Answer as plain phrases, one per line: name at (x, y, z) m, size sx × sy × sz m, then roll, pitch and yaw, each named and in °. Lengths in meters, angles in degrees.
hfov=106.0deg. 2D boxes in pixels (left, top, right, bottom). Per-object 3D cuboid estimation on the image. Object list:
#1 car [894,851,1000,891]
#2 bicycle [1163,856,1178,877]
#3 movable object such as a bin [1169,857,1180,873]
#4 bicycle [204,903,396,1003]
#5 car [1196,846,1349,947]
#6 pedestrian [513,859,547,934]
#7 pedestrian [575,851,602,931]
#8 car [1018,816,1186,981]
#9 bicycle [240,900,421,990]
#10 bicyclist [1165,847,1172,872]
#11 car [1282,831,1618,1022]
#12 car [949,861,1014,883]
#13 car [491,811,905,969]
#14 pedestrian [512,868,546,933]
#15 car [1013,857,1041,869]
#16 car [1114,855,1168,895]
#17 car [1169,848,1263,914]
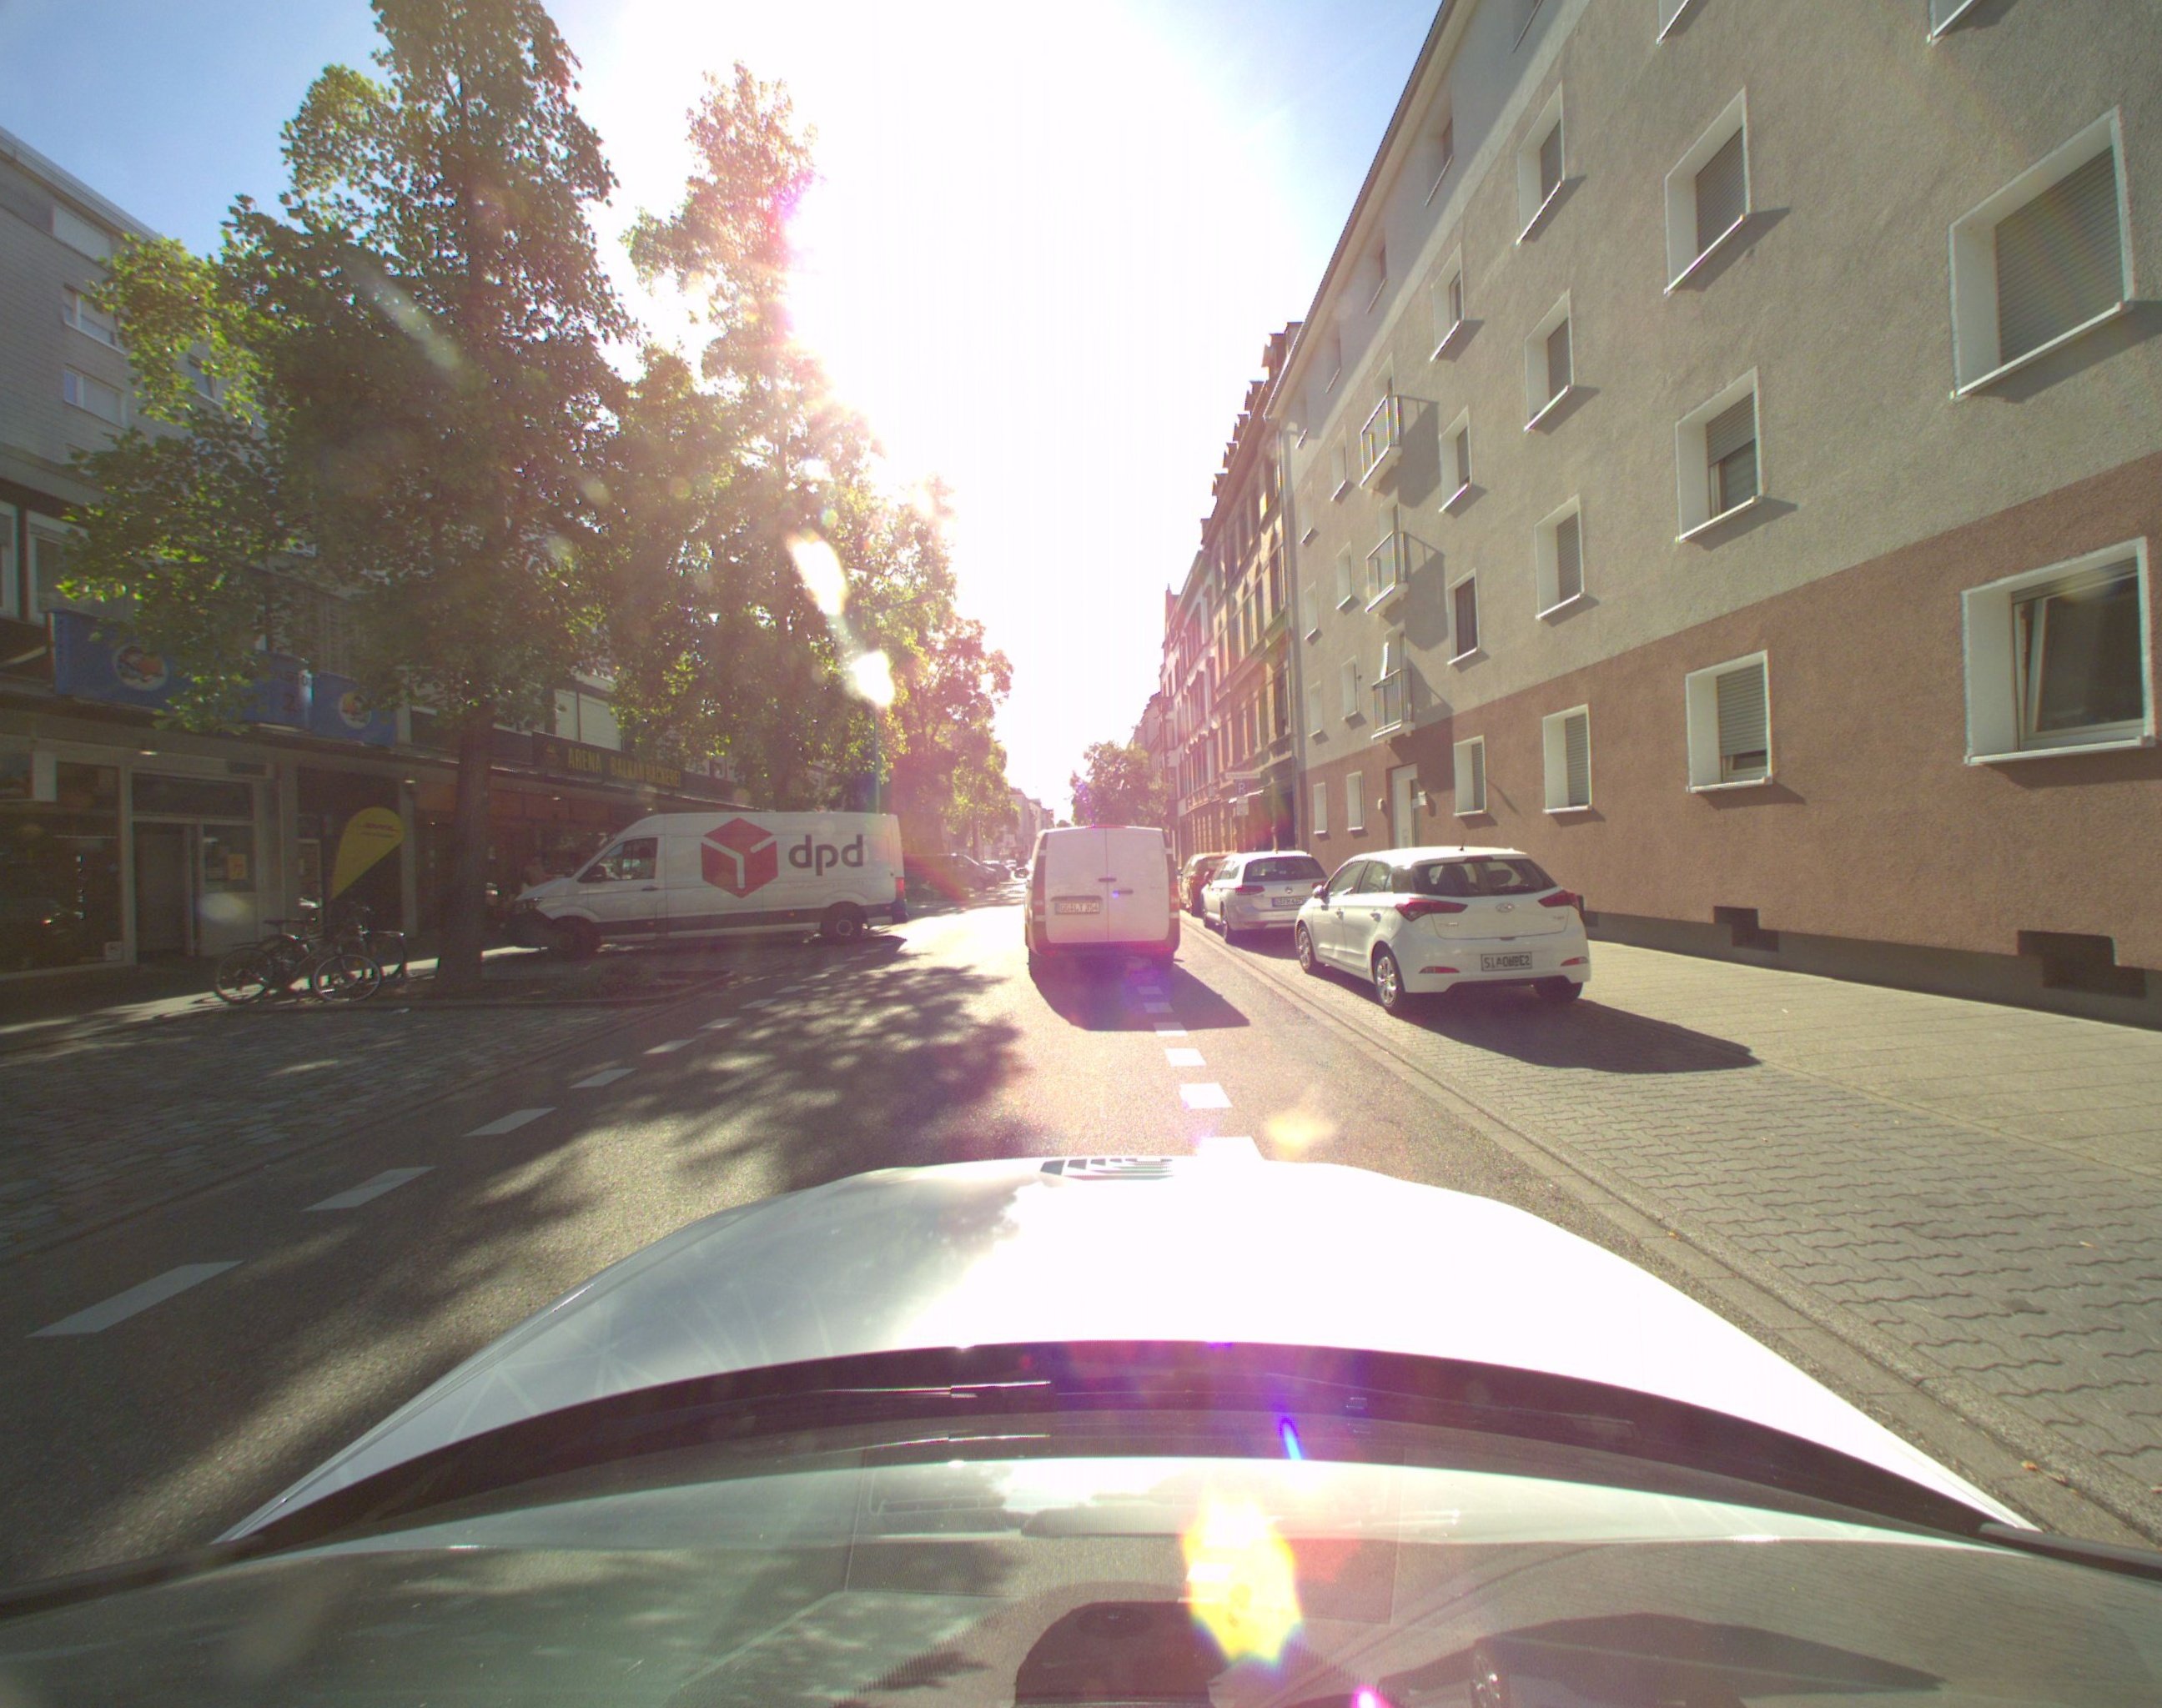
car at (-7.008, 0.887, 43.049) m, size 5.277 × 1.974 × 2.014 m, roll -1°, pitch 0°, yaw -1°
bicycle at (5.417, 0.758, 49.322) m, size 0.534 × 1.148 × 2.124 m, roll -8°, pitch -2°, yaw 1°
movable object such as a bin at (6.372, 0.731, 55.427) m, size 0.636 × 1.069 × 0.639 m, roll -2°, pitch 0°, yaw -1°
bicycle at (-9.290, 1.158, 9.724) m, size 1.712 × 1.117 × 0.623 m, roll 0°, pitch 0°, yaw 2°
car at (3.261, 0.660, 14.796) m, size 1.779 × 1.460 × 4.518 m, roll -3°, pitch 0°, yaw 2°
pedestrian at (-13.338, 1.020, 19.725) m, size 0.483 × 1.782 × 0.427 m, roll -3°, pitch -1°, yaw -4°
pedestrian at (-12.179, 0.908, 20.138) m, size 0.389 × 1.934 × 0.361 m, roll -2°, pitch 0°, yaw 0°
car at (0.067, 0.515, 12.046) m, size 1.918 × 1.914 × 4.878 m, roll -1°, pitch 0°, yaw -5°
bicycle at (-9.835, 1.179, 10.705) m, size 1.861 × 1.107 × 0.587 m, roll 0°, pitch 0°, yaw 2°
bicyclist at (5.325, 0.338, 49.334) m, size 0.359 × 1.477 × 0.531 m, roll -1°, pitch -1°, yaw 3°
car at (3.563, 0.611, 8.711) m, size 1.726 × 1.486 × 3.792 m, roll -4°, pitch 0°, yaw -2°
car at (-6.939, 1.248, 57.170) m, size 4.289 × 1.460 × 1.763 m, roll 0°, pitch 0°, yaw 1°
car at (-6.891, 0.519, 15.438) m, size 6.617 × 2.474 × 1.983 m, roll -2°, pitch 0°, yaw -27°
pedestrian at (-12.934, 1.077, 19.078) m, size 0.467 × 1.473 × 0.420 m, roll -2°, pitch 0°, yaw -4°
car at (-7.954, 1.275, 120.431) m, size 3.979 × 1.640 × 1.997 m, roll -2°, pitch 0°, yaw -4°
car at (2.310, 0.792, 32.395) m, size 1.733 × 1.451 × 3.998 m, roll -2°, pitch 0°, yaw -1°
car at (3.349, 0.638, 20.806) m, size 1.704 × 1.480 × 3.709 m, roll -2°, pitch 0°, yaw -1°
